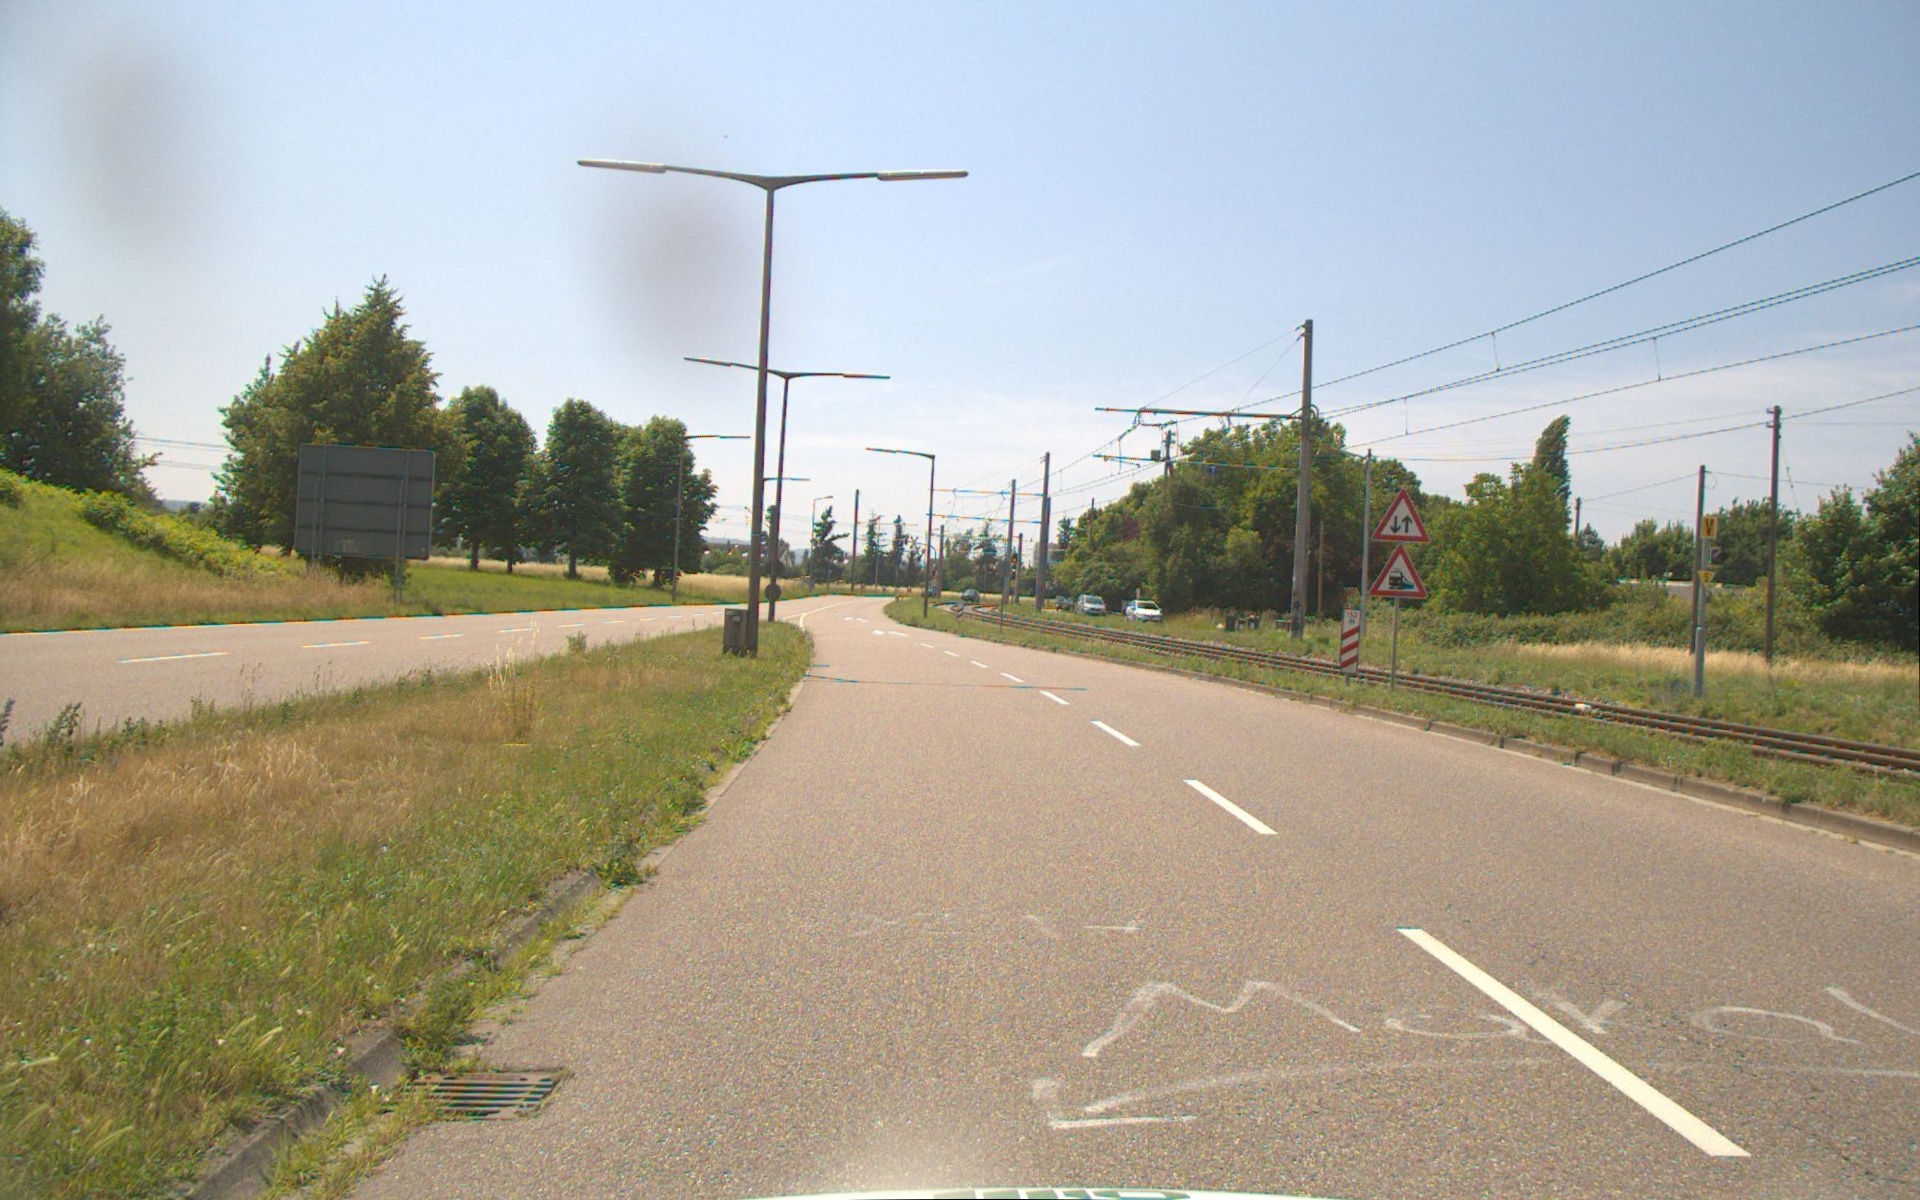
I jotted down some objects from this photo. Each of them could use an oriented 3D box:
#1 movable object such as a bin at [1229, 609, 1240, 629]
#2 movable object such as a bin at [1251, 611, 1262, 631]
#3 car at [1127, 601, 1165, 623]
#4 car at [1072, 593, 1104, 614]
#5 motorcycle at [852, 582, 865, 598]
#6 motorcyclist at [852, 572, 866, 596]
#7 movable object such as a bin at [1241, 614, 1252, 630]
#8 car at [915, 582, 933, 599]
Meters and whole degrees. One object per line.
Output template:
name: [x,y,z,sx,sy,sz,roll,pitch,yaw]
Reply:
movable object such as a bin: [15.197,1.065,91.513,0.513,1.068,0.500,2,0,6]
movable object such as a bin: [16.408,1.166,91.434,0.513,1.068,0.500,2,0,6]
car: [10.990,0.689,97.865,1.533,1.200,3.075,3,0,-7]
car: [9.375,0.264,121.399,1.639,1.421,3.646,5,0,-5]
motorcycle: [-10.741,-1.016,174.931,0.969,1.608,3.401,4,0,2]
motorcyclist: [-10.687,-1.657,175.121,1.206,2.391,1.107,4,-1,2]
movable object such as a bin: [15.845,1.203,91.430,0.513,0.879,0.500,2,0,6]
car: [-4.269,-1.177,197.854,1.374,1.802,3.256,4,-1,12]
